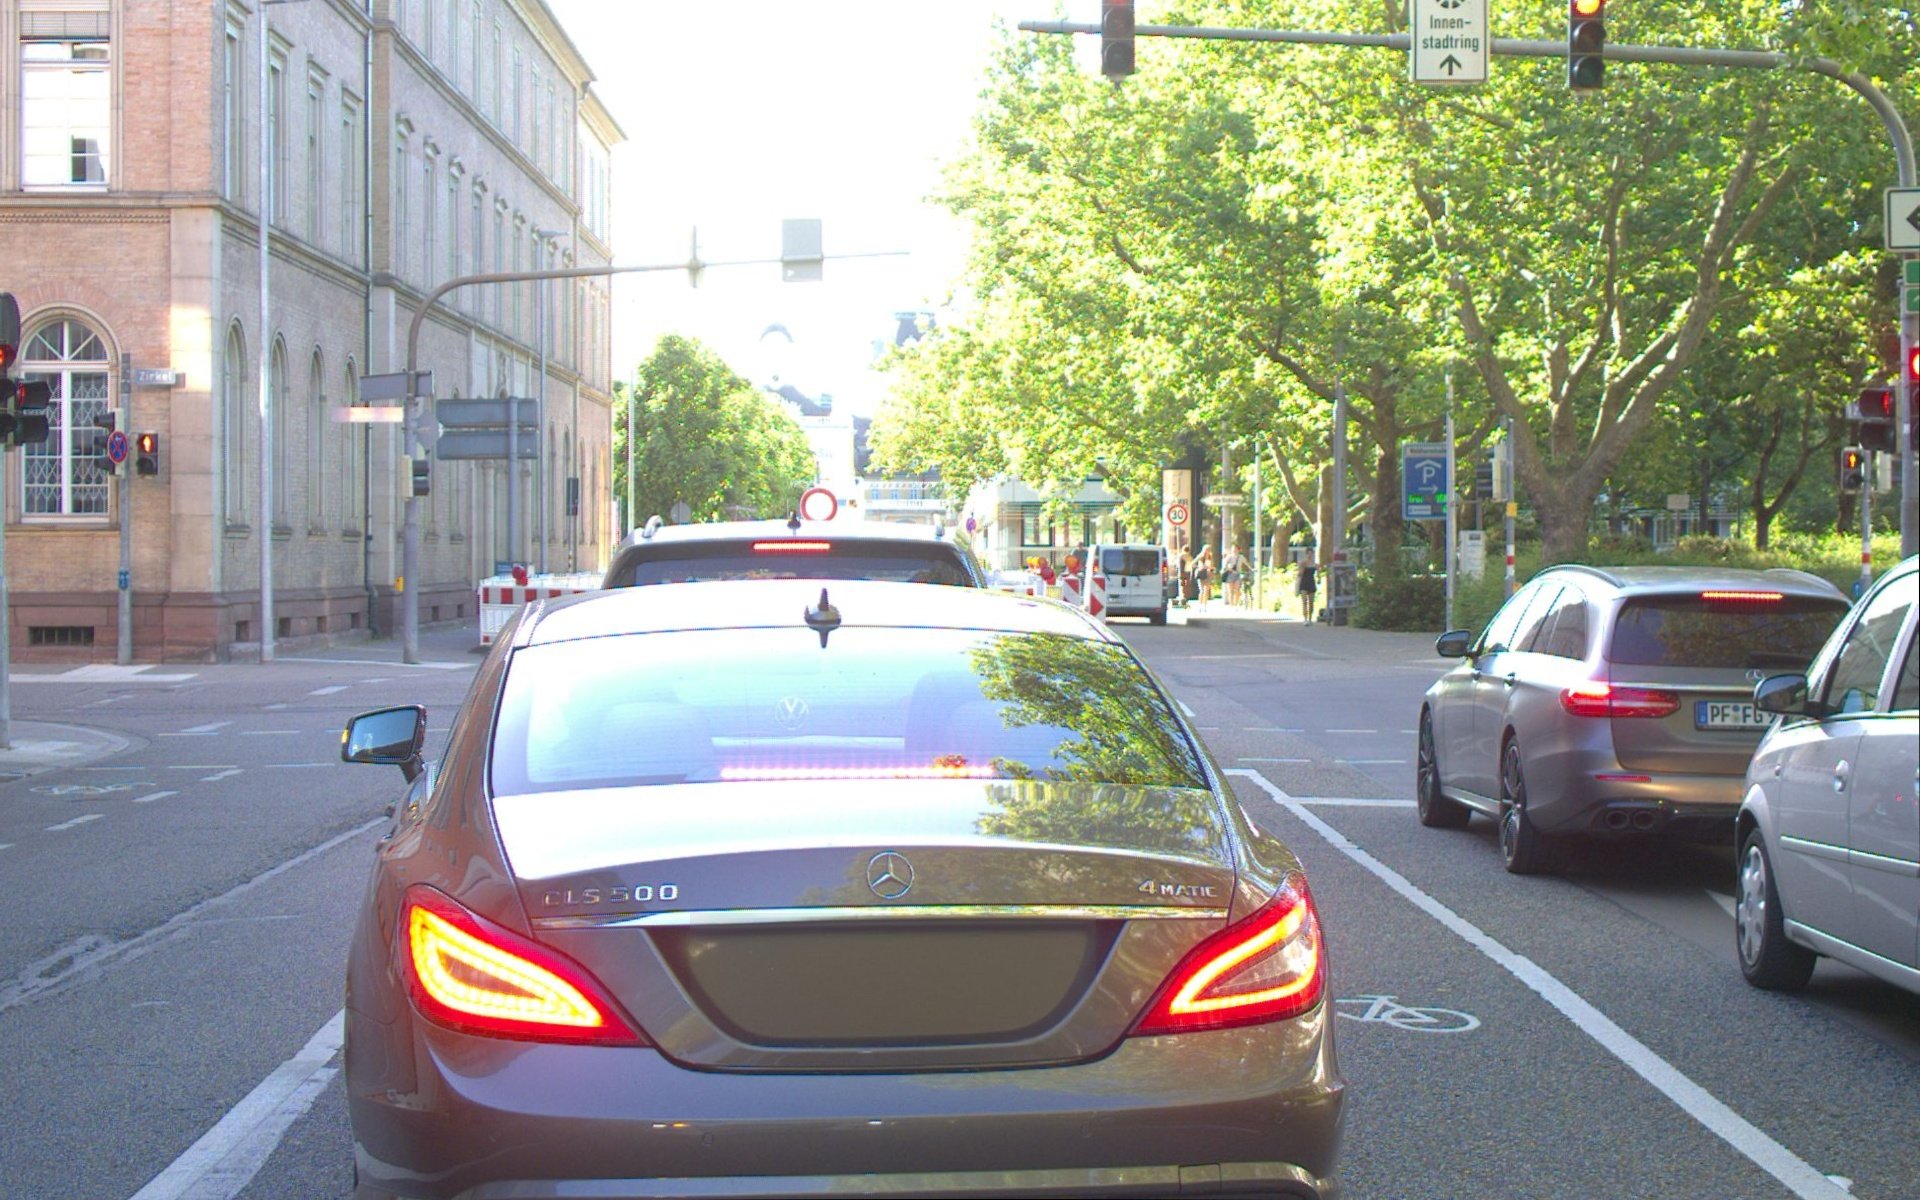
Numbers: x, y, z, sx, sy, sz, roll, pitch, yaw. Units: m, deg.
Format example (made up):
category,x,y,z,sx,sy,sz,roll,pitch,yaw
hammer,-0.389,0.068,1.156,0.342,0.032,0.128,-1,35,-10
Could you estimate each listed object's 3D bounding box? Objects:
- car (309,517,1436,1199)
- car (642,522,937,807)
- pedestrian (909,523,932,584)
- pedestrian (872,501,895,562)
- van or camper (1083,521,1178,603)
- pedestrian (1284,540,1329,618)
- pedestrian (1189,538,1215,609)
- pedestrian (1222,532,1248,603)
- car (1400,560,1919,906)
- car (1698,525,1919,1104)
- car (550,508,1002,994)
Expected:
category,x,y,z,sx,sy,sz,roll,pitch,yaw
car,-0.413,0.564,7.663,1.803,1.451,4.352,0,1,-8
car,-1.078,0.363,23.247,1.820,1.756,4.000,0,1,-1
pedestrian,-1.302,-1.526,113.416,0.724,2.007,0.748,0,1,-4
pedestrian,-2.519,-2.255,113.572,0.724,2.007,0.748,0,1,-4
van or camper,4.113,-0.937,83.692,1.993,1.935,4.594,1,1,-1
pedestrian,7.118,-0.433,70.626,0.830,1.601,0.651,1,1,-1
pedestrian,6.241,-0.695,88.787,0.603,1.815,0.651,1,1,-1
pedestrian,7.092,-0.836,88.649,0.603,1.815,0.651,1,1,-1
car,3.533,0.564,17.472,1.913,1.459,4.669,1,1,-1
car,3.551,0.600,10.698,1.701,1.597,3.859,2,1,1
car,-0.714,0.484,13.647,1.517,1.641,3.881,1,1,-3
